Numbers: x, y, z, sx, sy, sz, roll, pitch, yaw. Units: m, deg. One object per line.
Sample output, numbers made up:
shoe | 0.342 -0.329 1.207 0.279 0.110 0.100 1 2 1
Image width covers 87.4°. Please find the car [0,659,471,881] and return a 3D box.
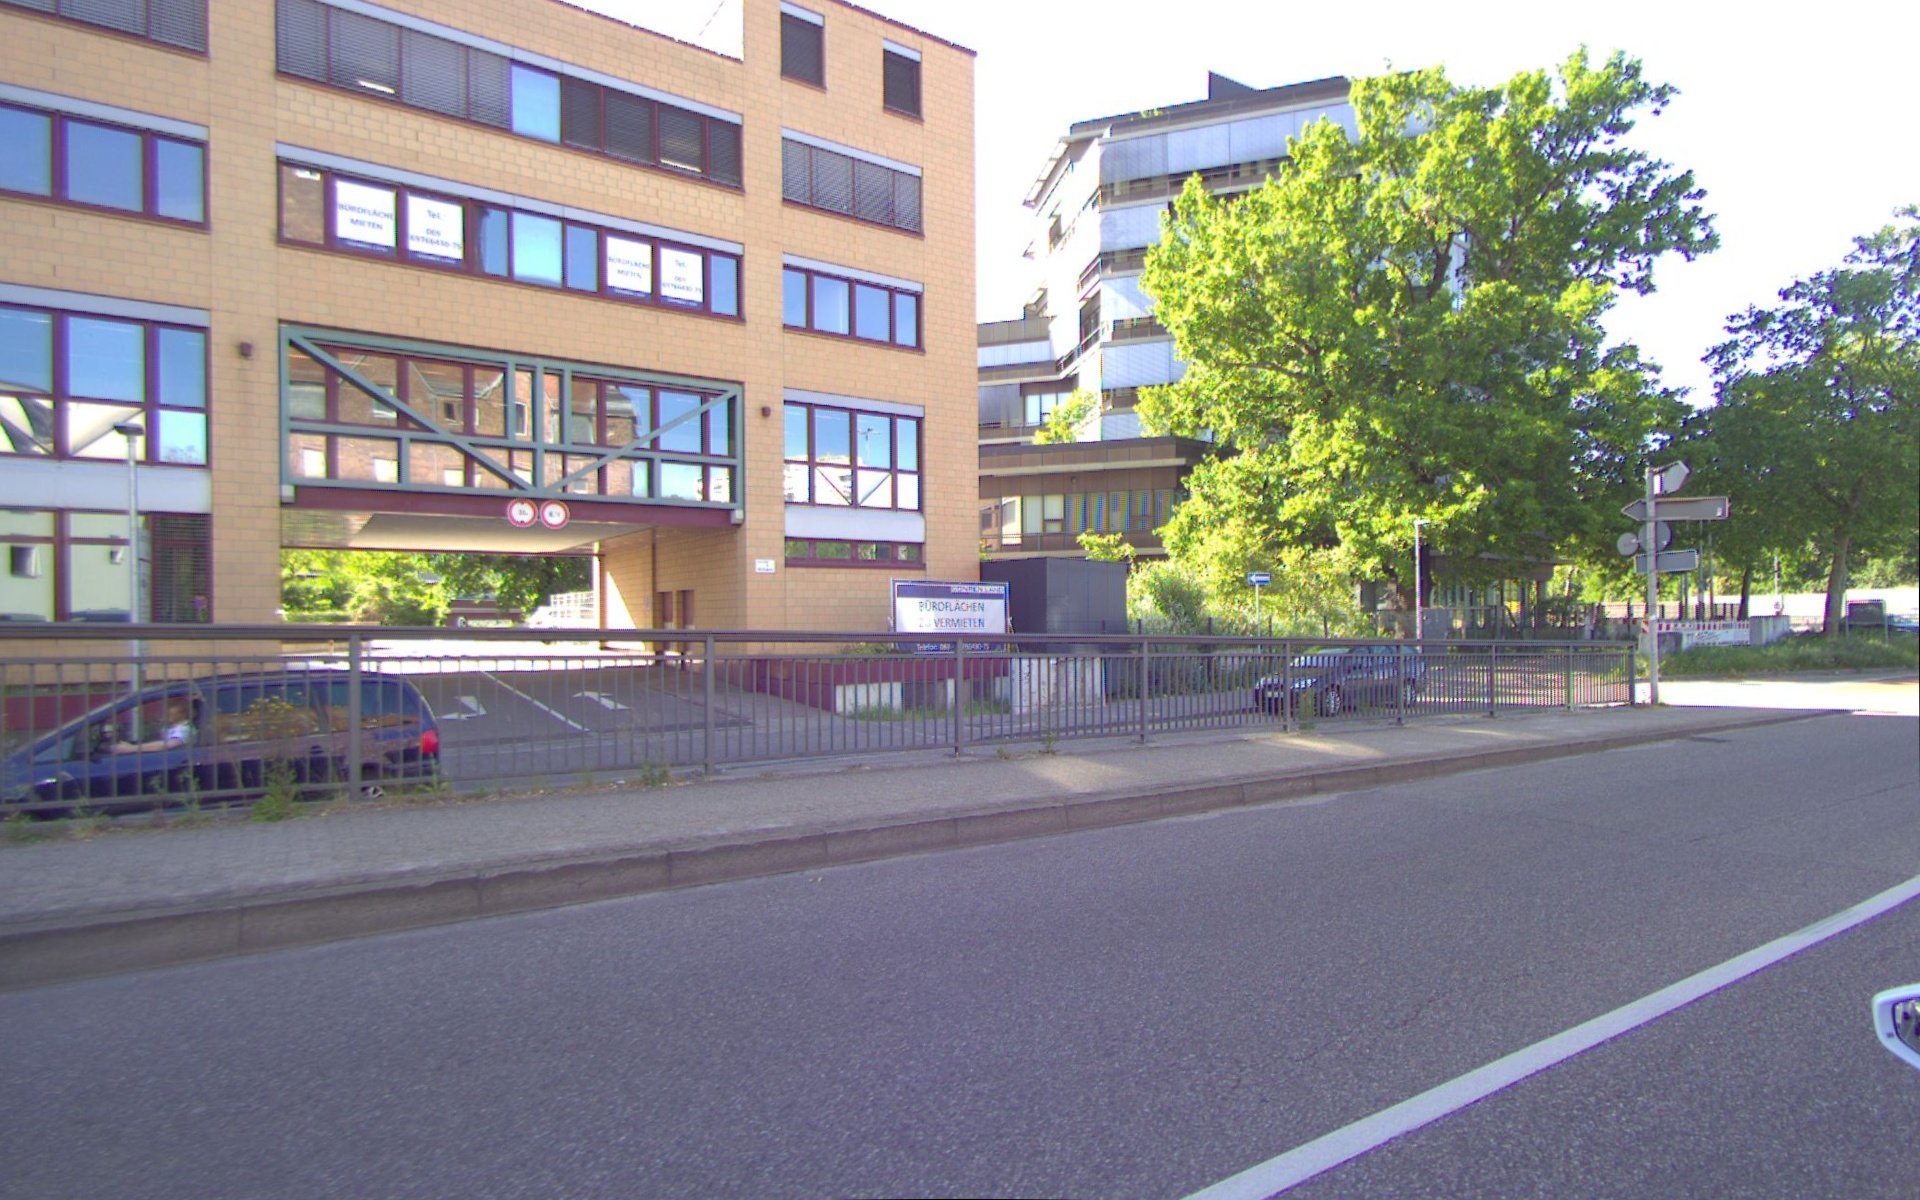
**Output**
car | -7.929 1.636 10.708 4.642 1.781 1.937 0 0 -36

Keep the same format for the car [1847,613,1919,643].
car | 48.551 1.434 51.711 1.790 1.458 4.451 -1 -1 -1

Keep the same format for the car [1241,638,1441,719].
car | 8.415 1.641 22.075 4.401 1.523 1.811 0 -1 -32
